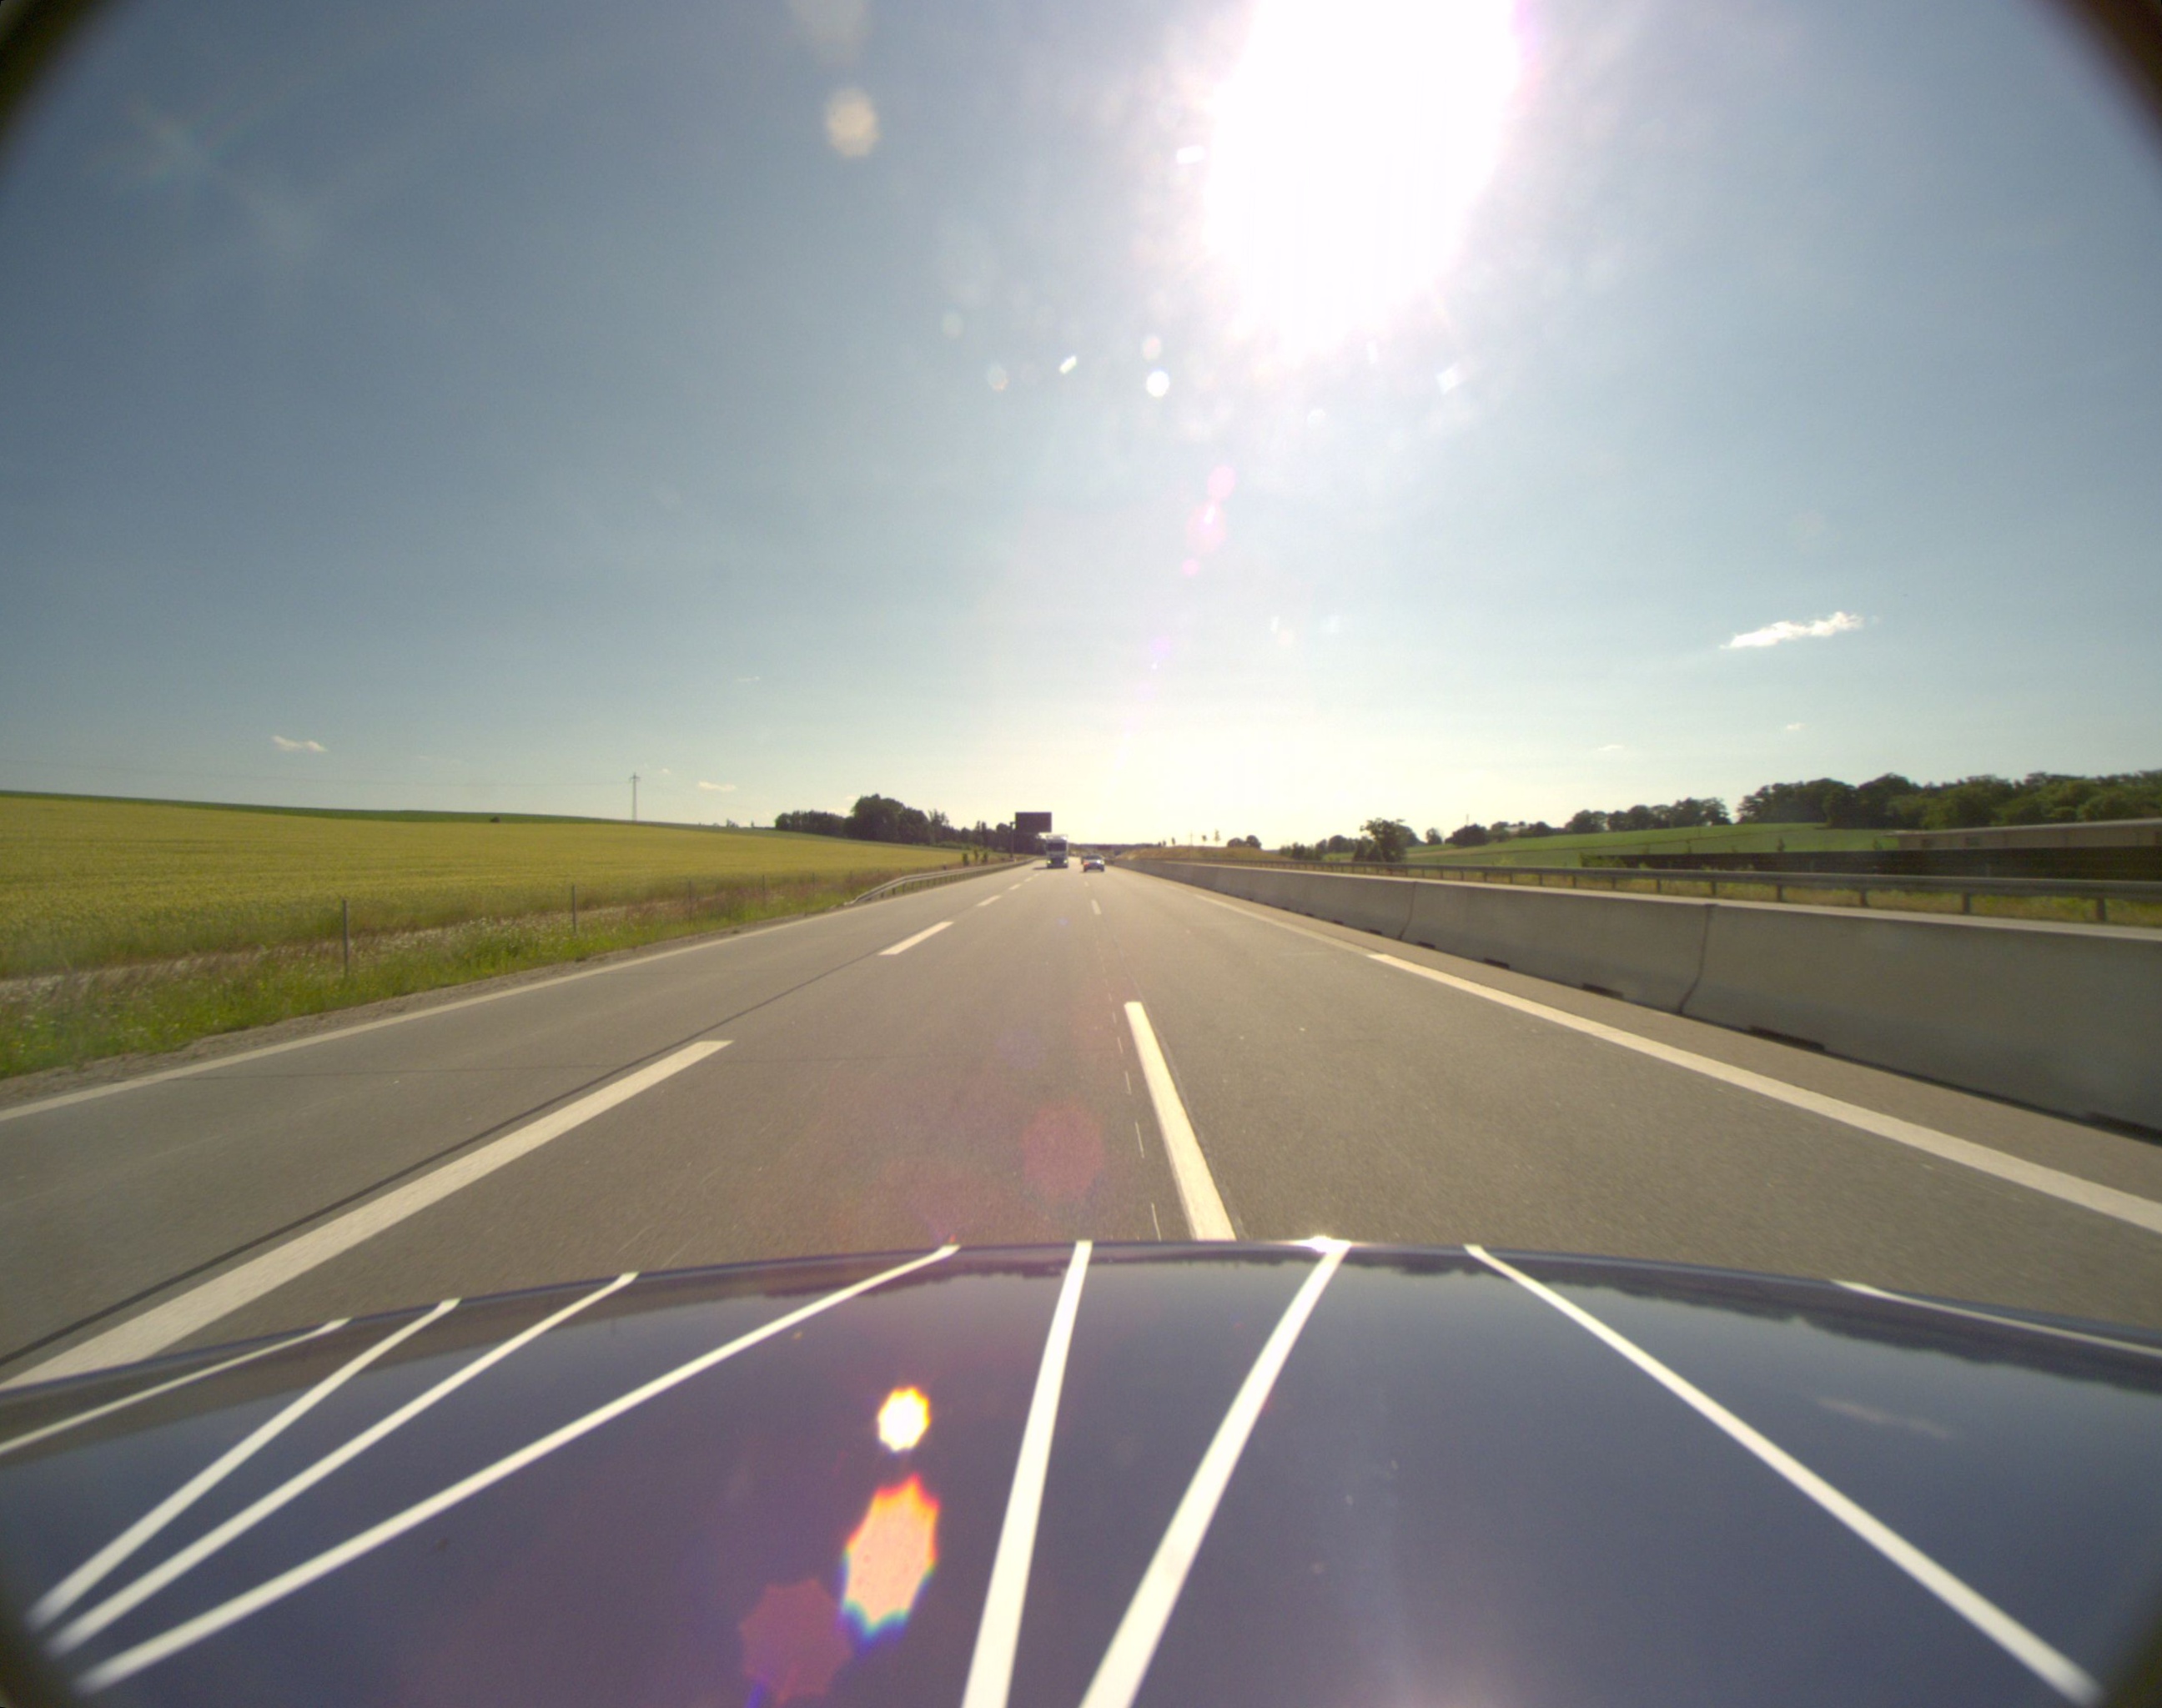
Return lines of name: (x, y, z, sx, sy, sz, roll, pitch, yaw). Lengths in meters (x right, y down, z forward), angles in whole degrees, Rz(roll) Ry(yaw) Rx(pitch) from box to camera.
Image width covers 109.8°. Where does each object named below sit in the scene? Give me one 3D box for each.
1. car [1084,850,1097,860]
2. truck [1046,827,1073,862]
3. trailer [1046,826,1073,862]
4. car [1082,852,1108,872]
car: (1.459, 0.141, 120.210, 1.899, 1.560, 4.000, 1, 0, 3)
truck: (-2.506, -1.117, 91.254, 3.090, 3.991, 6.188, 1, 1, 0)
trailer: (-2.651, -1.279, 99.270, 3.185, 4.269, 15.457, 1, 0, -1)
car: (1.216, 0.637, 63.426, 1.891, 1.565, 3.793, -3, 0, 4)
